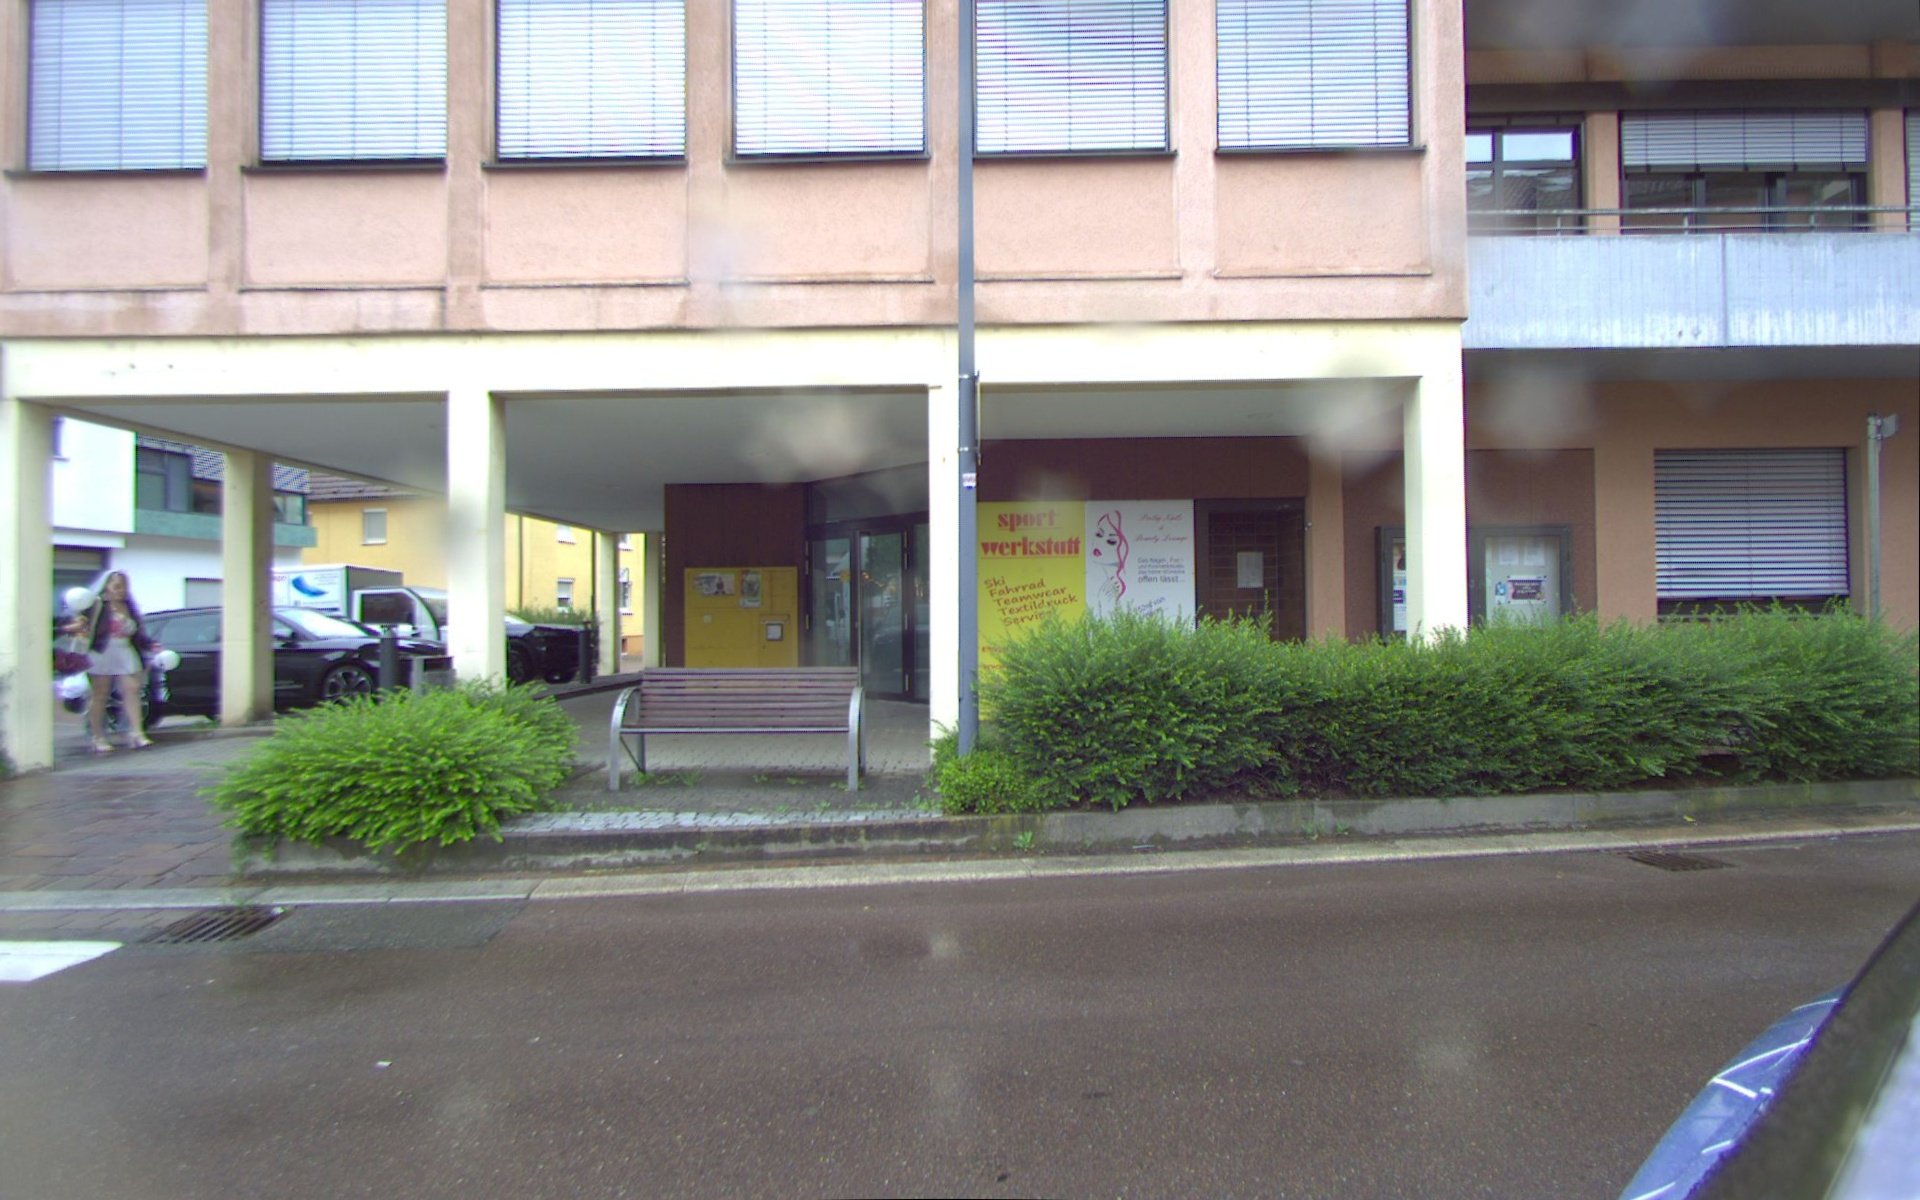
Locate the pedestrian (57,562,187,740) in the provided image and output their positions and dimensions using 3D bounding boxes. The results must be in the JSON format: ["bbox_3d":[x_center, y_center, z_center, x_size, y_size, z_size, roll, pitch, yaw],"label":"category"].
[{"bbox_3d":[-8.367,0.488,10.138,0.718,1.711,0.725,-1,-1,-4],"label":"pedestrian"}]

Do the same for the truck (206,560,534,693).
[{"bbox_3d":[-8.716,0.385,15.183,3.925,1.831,1.767,-1,0,2],"label":"truck"}]

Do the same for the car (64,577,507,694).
[{"bbox_3d":[-8.189,0.414,12.541,4.389,1.292,1.767,-1,0,3],"label":"car"}]

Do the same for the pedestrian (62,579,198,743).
[{"bbox_3d":[-8.894,0.622,10.860,0.729,1.660,0.956,-1,-1,33],"label":"pedestrian"}]

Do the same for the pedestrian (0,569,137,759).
[{"bbox_3d":[-8.307,0.573,9.382,0.804,1.682,0.699,-1,-1,-4],"label":"pedestrian"}]
